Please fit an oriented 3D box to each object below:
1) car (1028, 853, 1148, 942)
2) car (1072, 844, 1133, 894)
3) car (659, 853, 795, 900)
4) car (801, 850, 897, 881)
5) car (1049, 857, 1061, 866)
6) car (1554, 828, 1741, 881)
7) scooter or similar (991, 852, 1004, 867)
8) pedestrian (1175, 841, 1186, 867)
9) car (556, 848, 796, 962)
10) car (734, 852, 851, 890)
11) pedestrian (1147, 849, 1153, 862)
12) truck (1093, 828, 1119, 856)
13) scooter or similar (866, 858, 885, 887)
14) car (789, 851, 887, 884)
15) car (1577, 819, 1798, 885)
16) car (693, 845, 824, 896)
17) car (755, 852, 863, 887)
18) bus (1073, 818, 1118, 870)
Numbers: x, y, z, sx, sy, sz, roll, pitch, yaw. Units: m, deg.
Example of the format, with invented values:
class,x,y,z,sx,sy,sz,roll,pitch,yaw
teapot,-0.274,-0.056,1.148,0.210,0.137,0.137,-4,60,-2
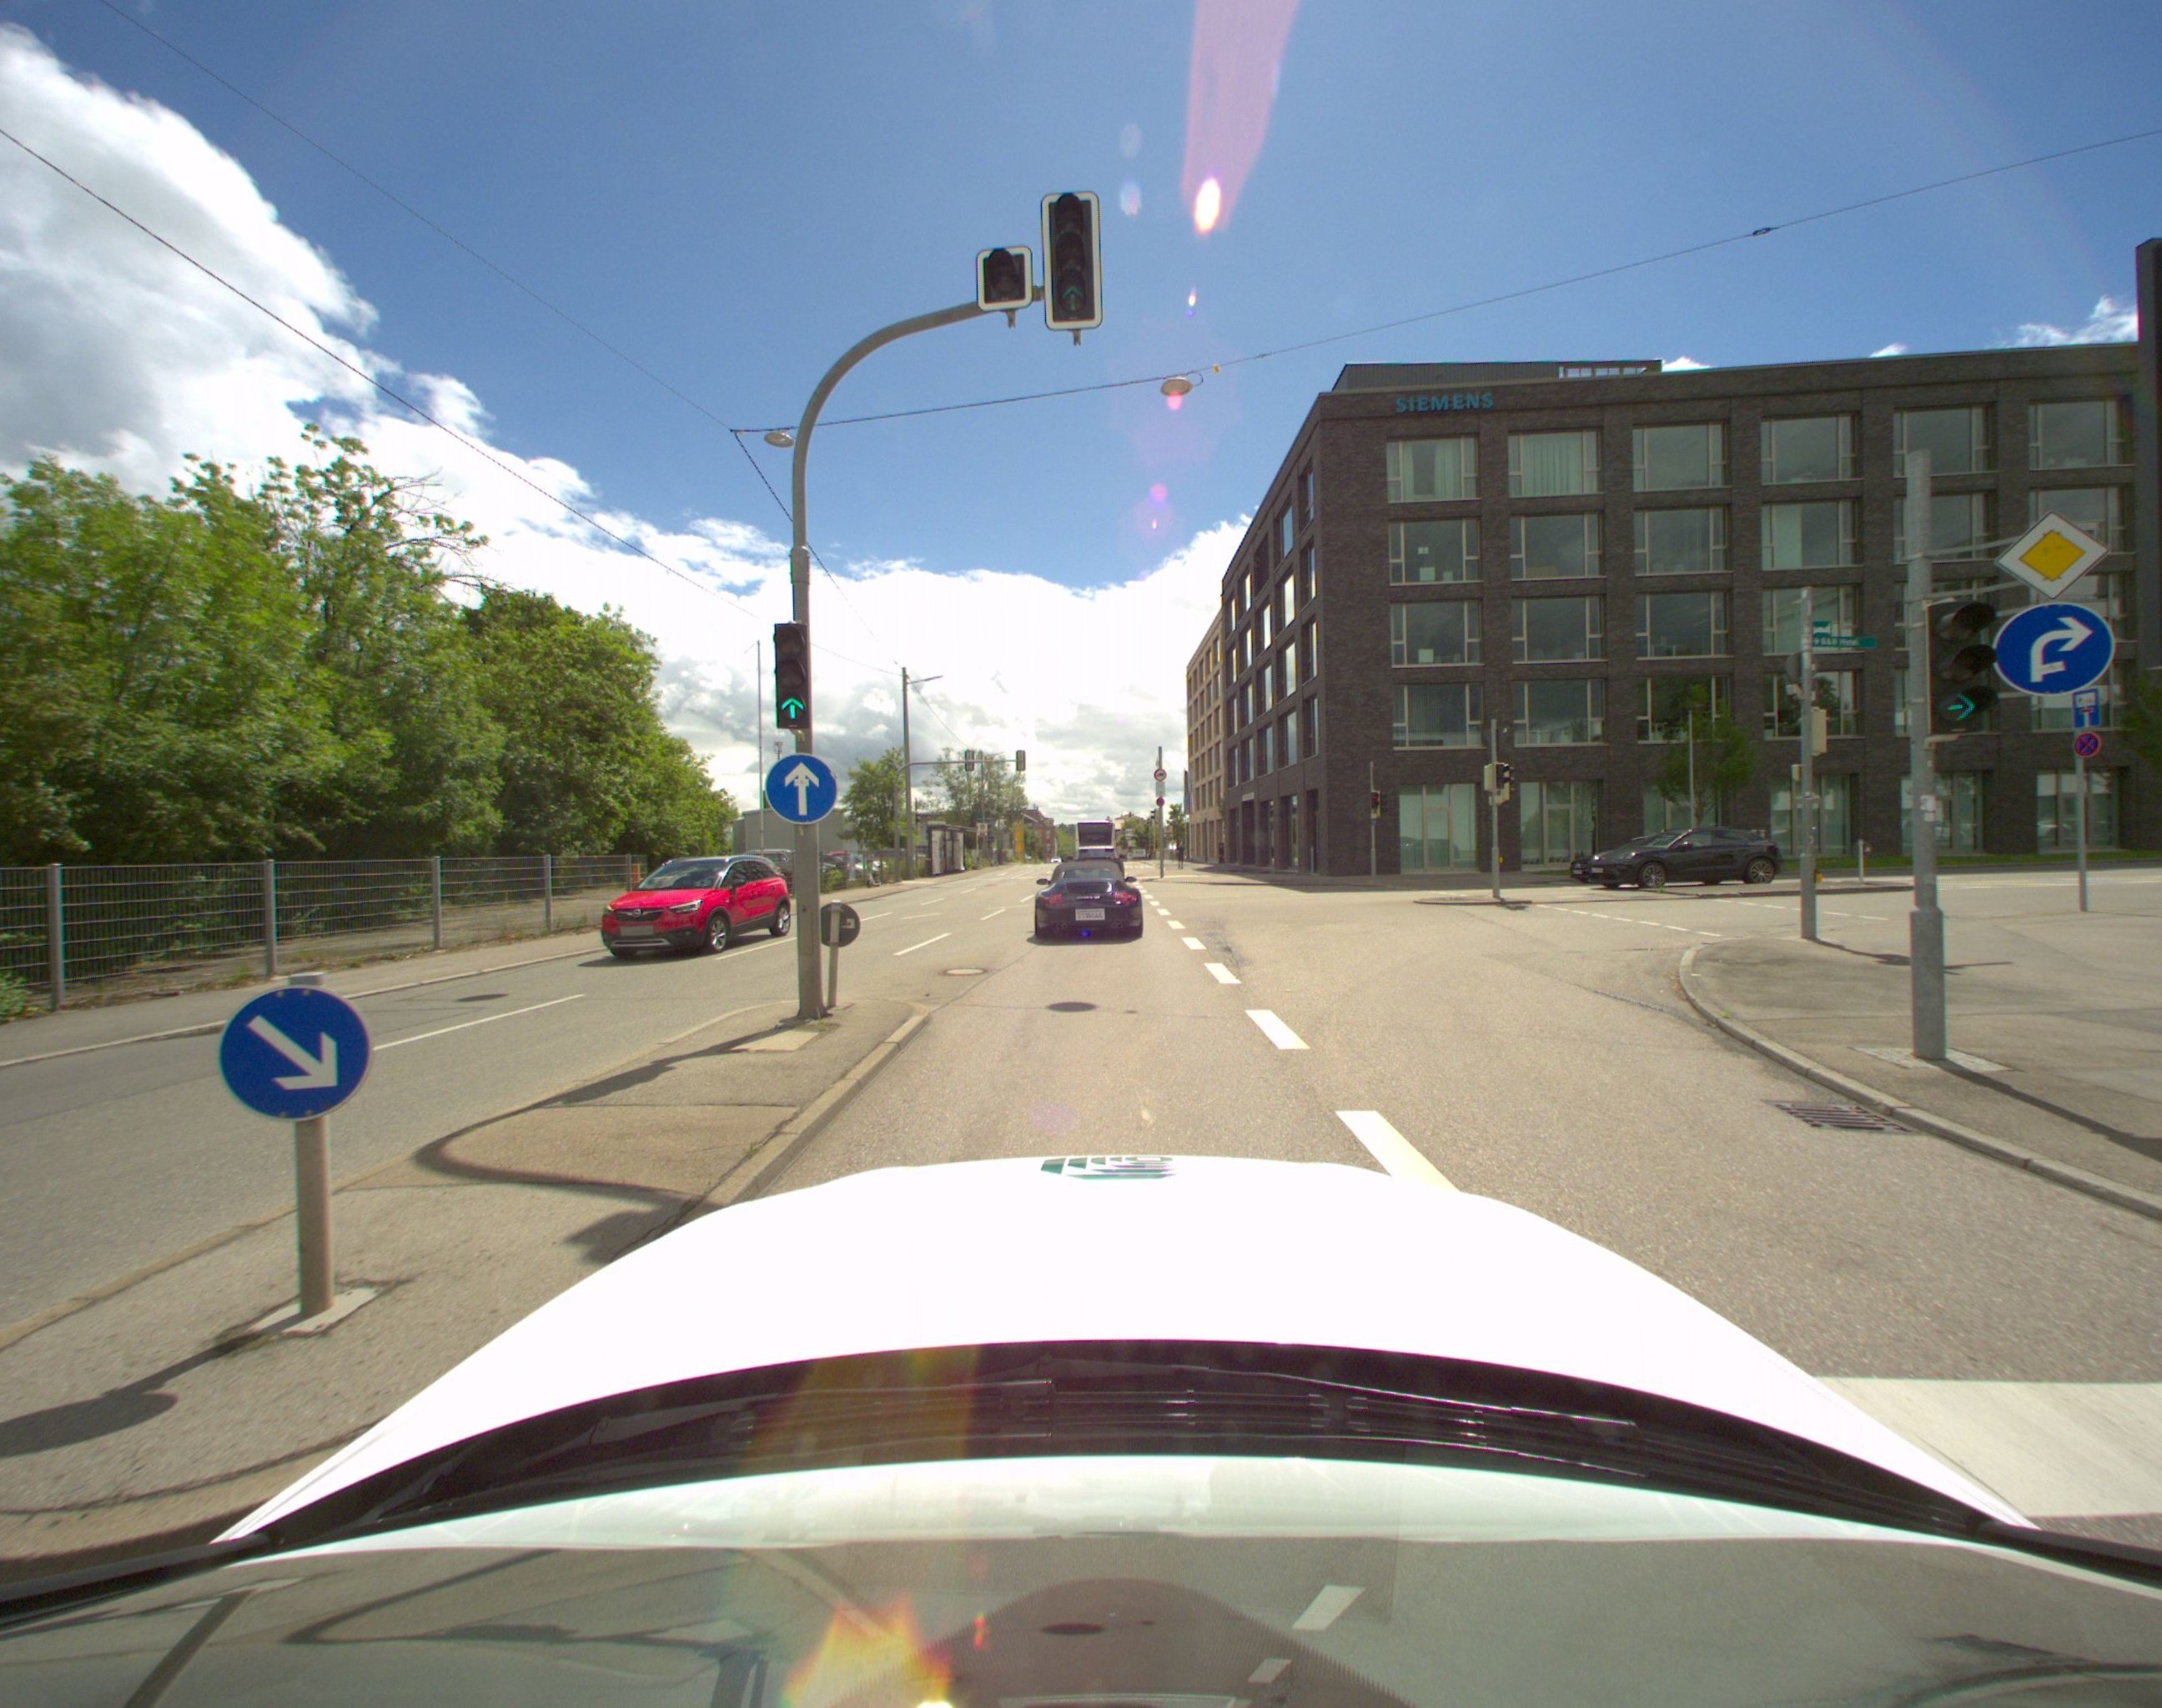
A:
class,x,y,z,sx,sy,sz,roll,pitch,yaw
car,0.181,0.701,15.278,1.923,1.376,4.210,-1,1,2
car,0.689,0.486,28.697,1.925,1.583,4.205,-1,0,-1
car,-12.068,0.740,27.965,3.849,1.419,1.898,-2,0,-8
car,-11.981,0.575,42.252,4.294,1.419,2.026,-1,0,2
car,-4.322,1.248,137.640,1.790,1.376,4.224,-2,1,0
car,17.822,0.033,25.792,4.508,1.492,2.001,-2,0,1
scooter or similar,-7.351,0.496,71.761,0.530,1.262,1.478,0,0,18
pedestrian,6.673,0.027,54.621,0.681,1.728,0.962,0,0,0
car,-6.779,0.744,14.239,1.923,1.599,4.155,-3,0,2
car,-11.934,0.689,33.840,4.089,1.419,2.000,-1,0,0
pedestrian,8.714,0.211,102.514,0.685,1.536,0.856,-2,-1,0
truck,2.814,-1.317,93.127,2.704,3.054,7.713,-2,0,0
scooter or similar,-8.807,0.780,34.889,0.421,1.210,1.128,0,0,6
car,-11.655,0.631,39.208,4.088,1.419,1.917,-1,0,1
car,16.652,-0.057,22.547,4.624,1.618,2.000,-2,0,0
car,-12.079,0.584,30.744,4.094,1.734,1.998,-2,0,-4
car,-12.042,0.671,36.250,4.092,1.419,1.998,-1,0,-2
bus,1.136,-0.677,57.169,2.791,3.197,12.203,-1,1,2
